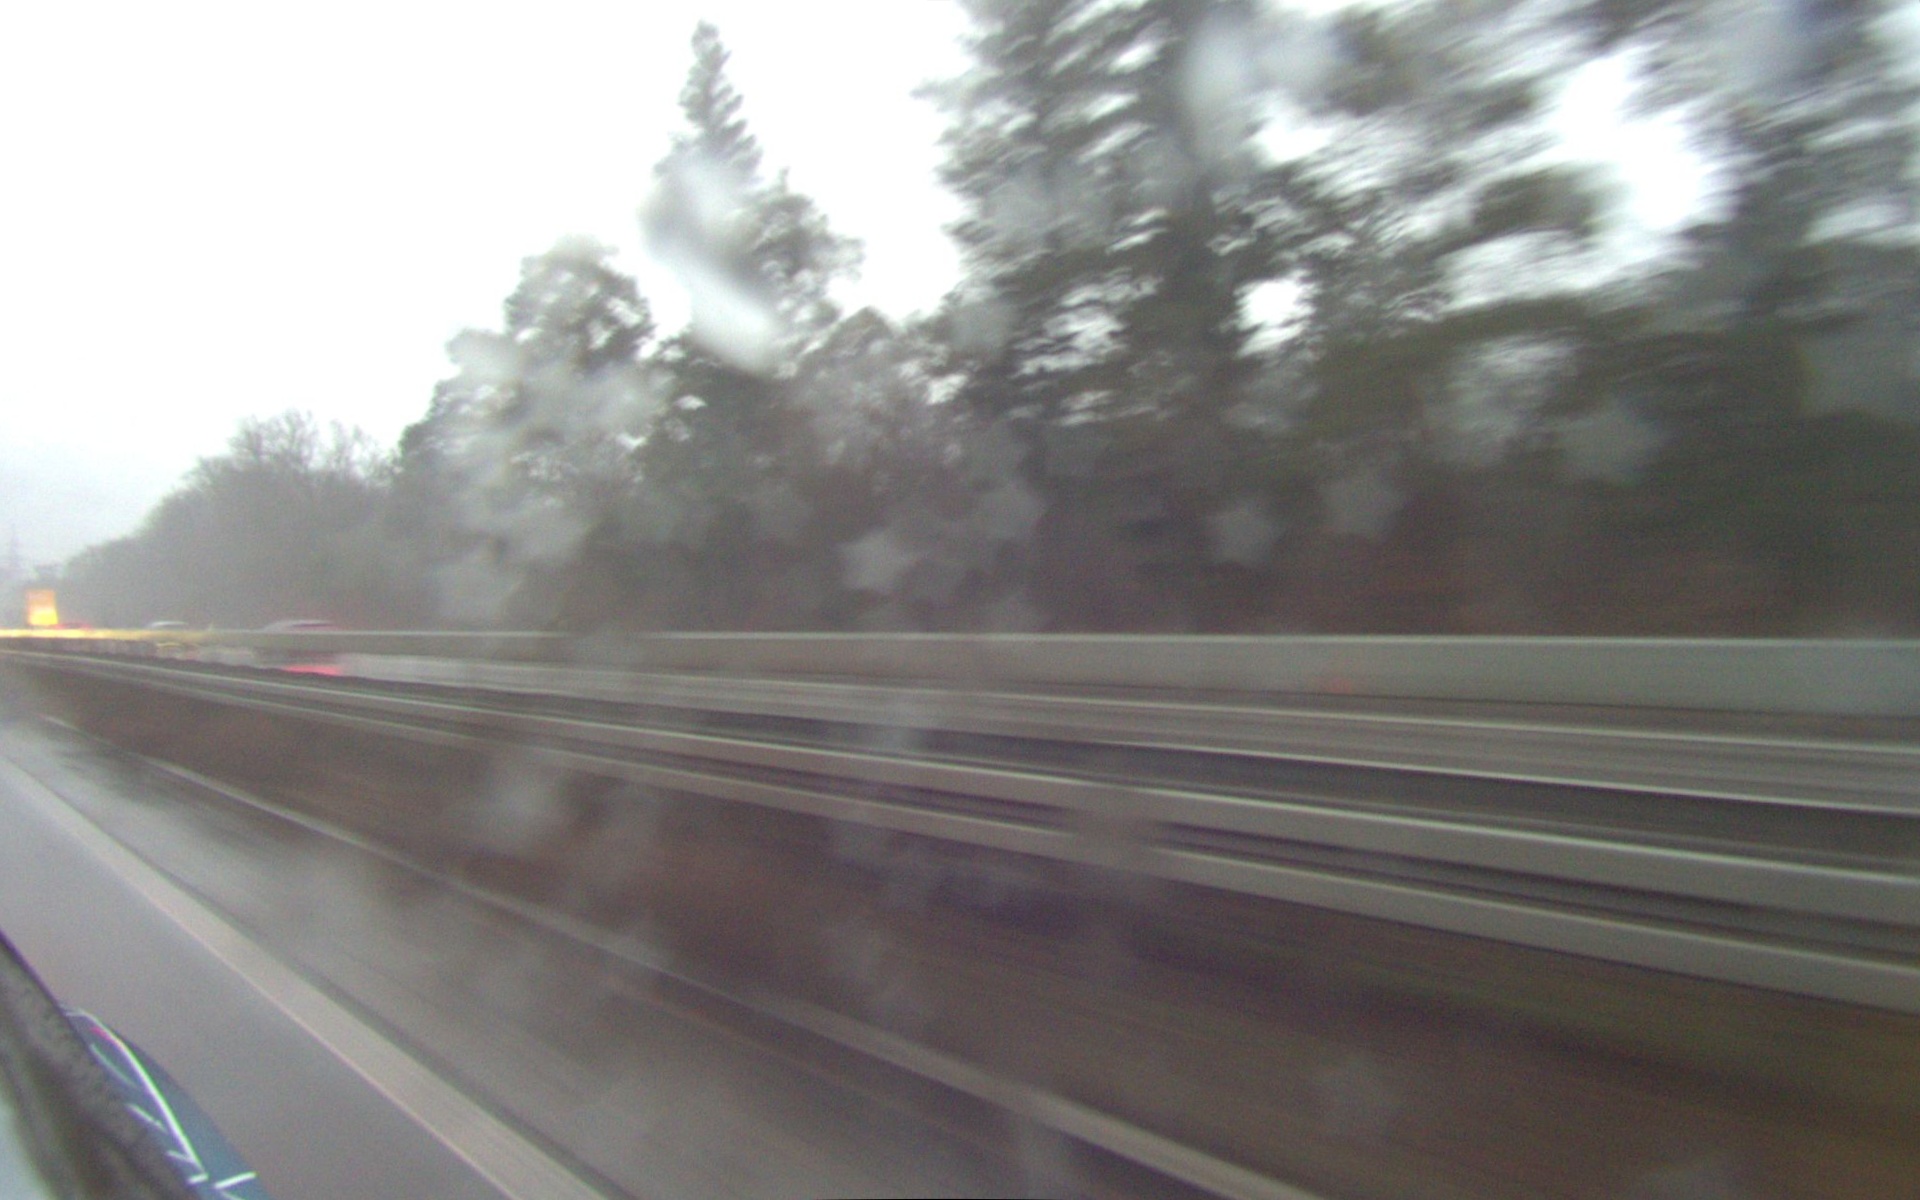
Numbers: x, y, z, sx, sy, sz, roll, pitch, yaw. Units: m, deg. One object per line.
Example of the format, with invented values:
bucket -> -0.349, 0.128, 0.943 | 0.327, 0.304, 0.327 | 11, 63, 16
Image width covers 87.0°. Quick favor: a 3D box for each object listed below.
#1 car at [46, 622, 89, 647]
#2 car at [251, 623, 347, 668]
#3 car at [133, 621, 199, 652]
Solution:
car -> -62.493, 2.415, 70.836 | 3.998, 1.704, 1.794 | -2, -1, 41
car -> -22.536, 1.529, 34.454 | 3.978, 1.399, 1.659 | -2, -1, 40
car -> -39.664, 1.815, 50.534 | 4.038, 1.451, 1.775 | -2, -1, 40
